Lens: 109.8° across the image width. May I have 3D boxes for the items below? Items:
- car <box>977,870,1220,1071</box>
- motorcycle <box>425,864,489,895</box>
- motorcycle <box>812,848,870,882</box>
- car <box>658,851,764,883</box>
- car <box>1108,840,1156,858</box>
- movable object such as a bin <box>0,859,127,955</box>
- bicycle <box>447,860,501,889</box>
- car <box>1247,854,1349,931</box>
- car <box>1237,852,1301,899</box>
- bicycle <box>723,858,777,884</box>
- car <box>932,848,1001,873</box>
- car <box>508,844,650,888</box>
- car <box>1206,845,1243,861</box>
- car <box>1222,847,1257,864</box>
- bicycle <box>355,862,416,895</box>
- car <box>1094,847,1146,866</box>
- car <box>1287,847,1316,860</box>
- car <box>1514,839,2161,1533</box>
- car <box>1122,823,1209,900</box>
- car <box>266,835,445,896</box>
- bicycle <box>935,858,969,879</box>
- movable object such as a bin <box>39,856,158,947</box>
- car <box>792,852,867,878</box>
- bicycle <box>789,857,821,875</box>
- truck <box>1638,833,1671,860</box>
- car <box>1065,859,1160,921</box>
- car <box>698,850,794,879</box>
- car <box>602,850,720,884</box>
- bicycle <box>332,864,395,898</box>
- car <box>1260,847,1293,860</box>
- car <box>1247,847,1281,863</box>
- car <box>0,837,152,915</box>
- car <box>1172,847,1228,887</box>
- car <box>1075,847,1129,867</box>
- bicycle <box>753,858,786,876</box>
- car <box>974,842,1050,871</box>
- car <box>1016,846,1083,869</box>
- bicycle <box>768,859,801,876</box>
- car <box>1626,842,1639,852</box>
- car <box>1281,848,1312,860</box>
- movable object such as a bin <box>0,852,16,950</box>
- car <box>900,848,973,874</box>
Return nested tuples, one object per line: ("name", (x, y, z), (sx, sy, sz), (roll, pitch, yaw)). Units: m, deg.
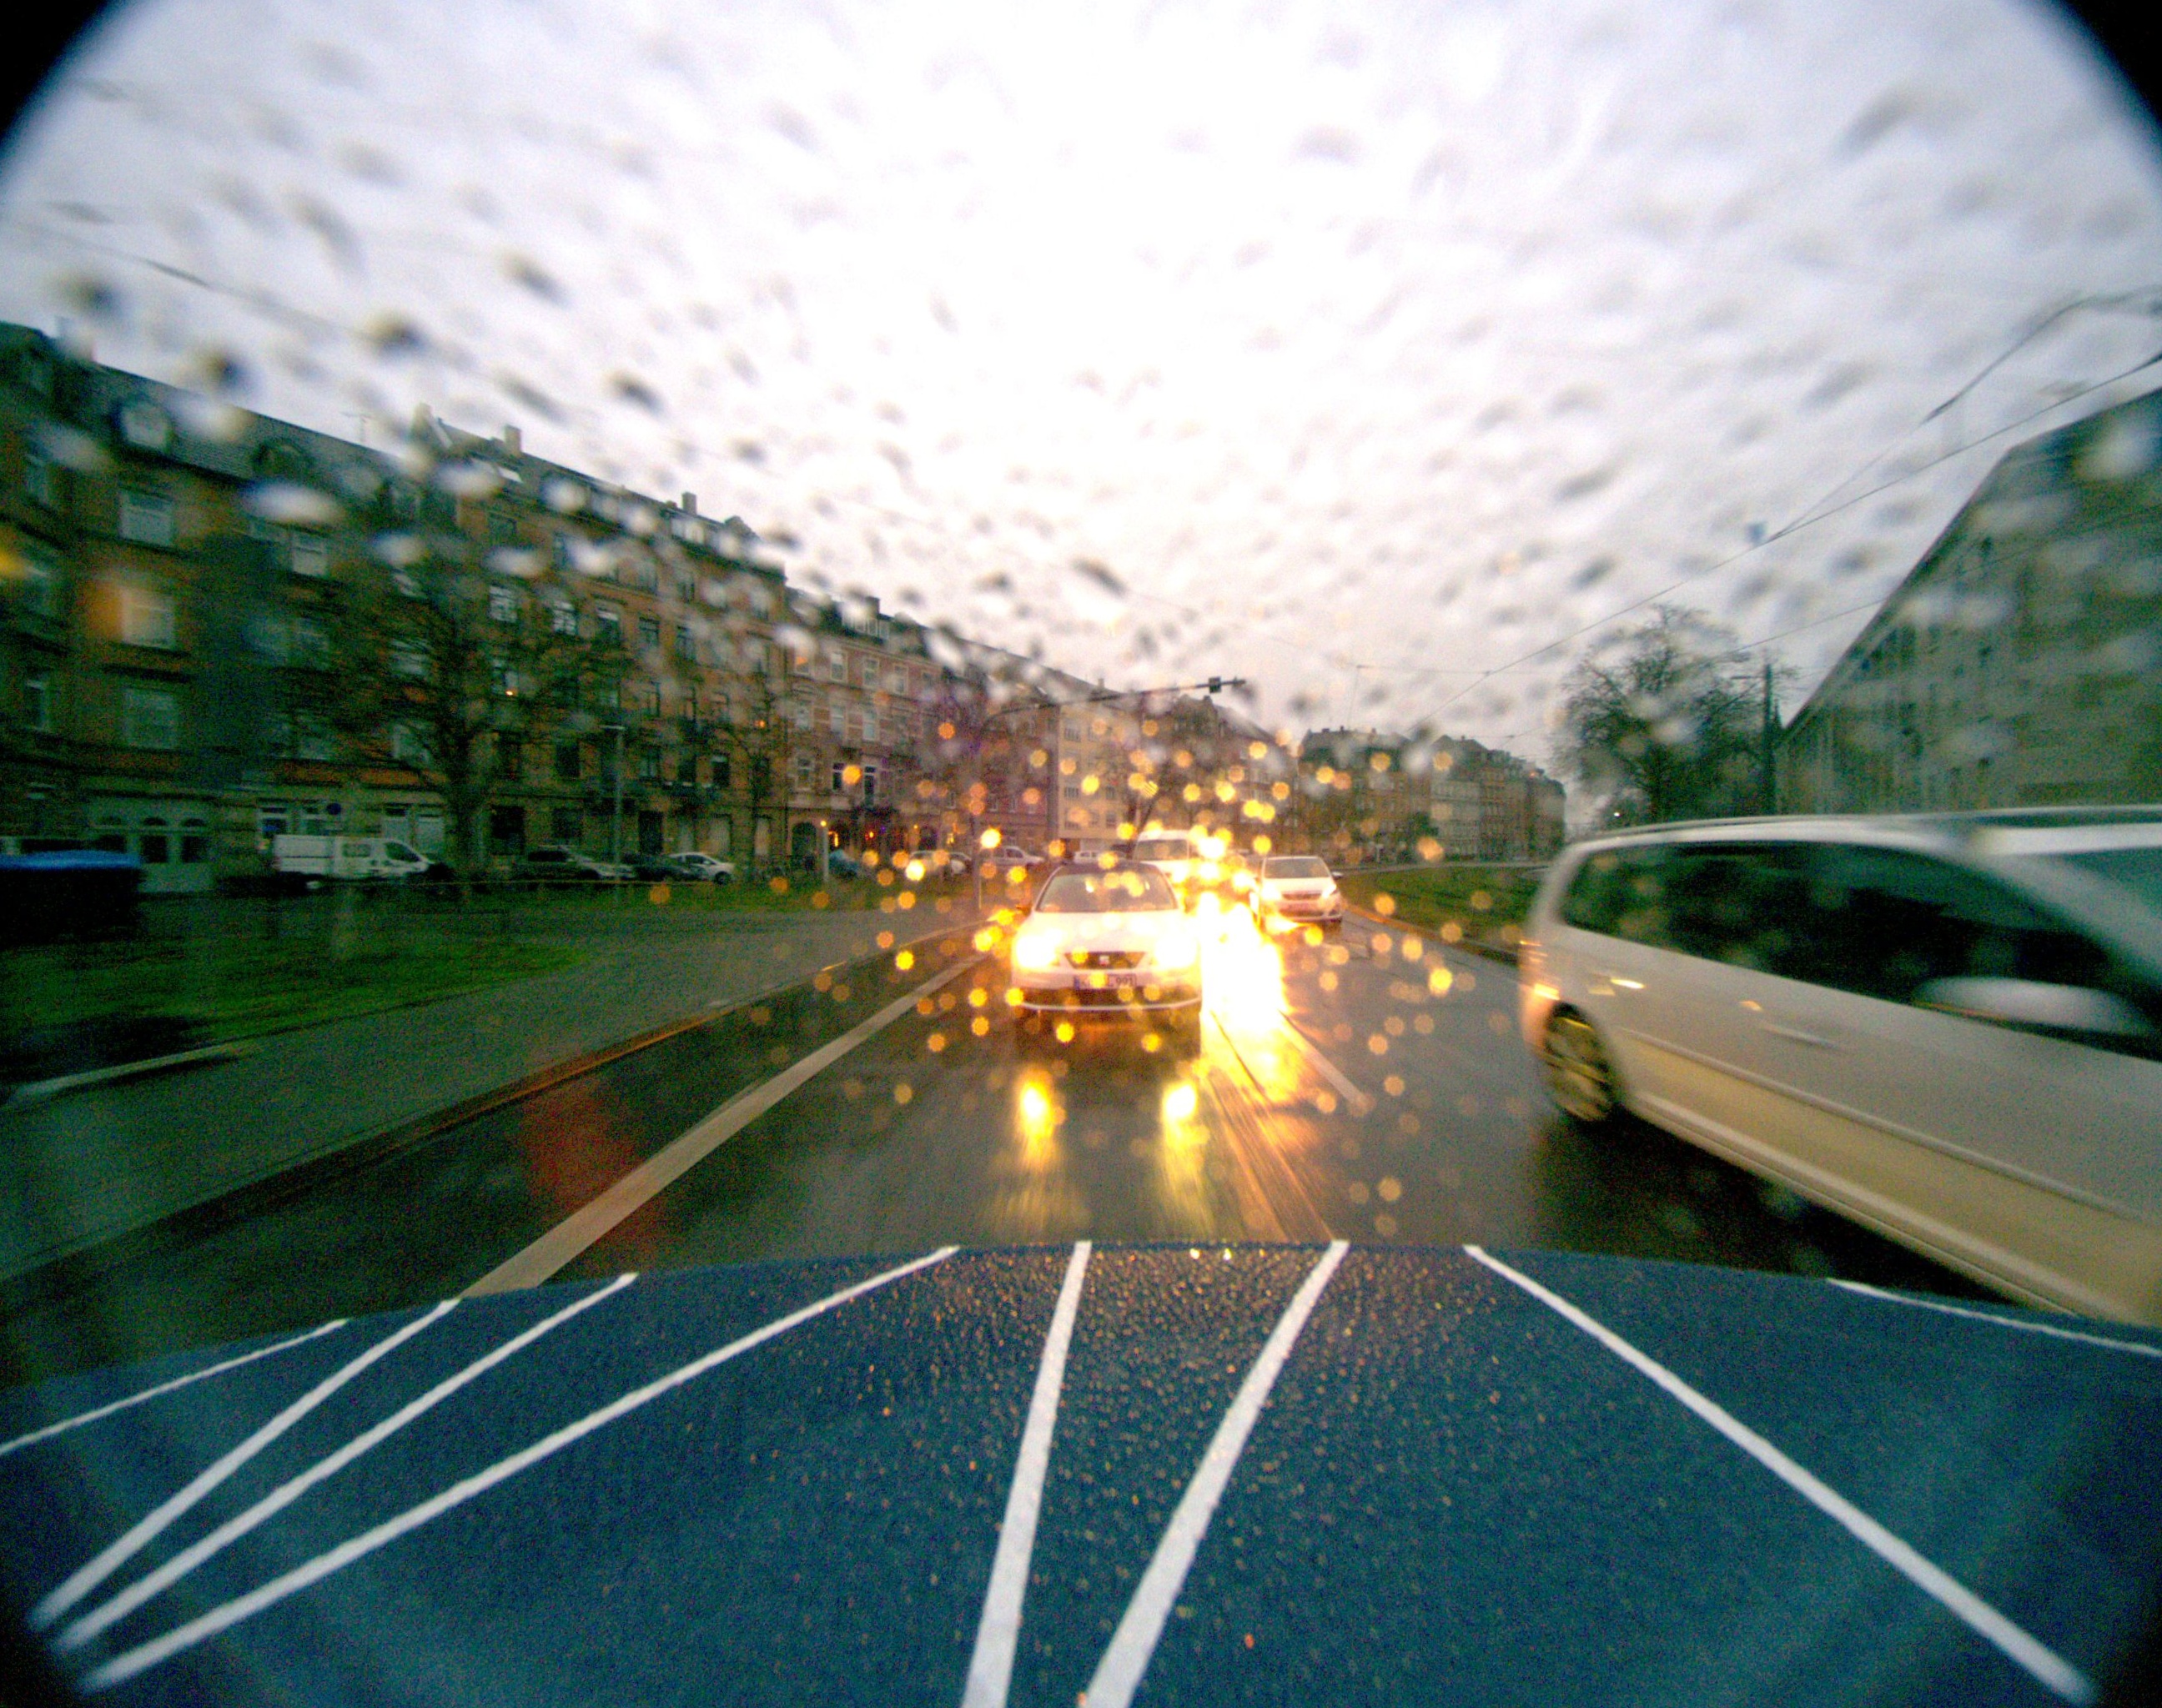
("car", (0.298, 0.933, 7.835), (1.787, 1.370, 4.224), (-2, 0, 5))
("motorcycle", (-20.074, 0.817, 24.444), (1.793, 0.926, 0.513), (2, 2, 8))
("motorcycle", (-10.479, 0.465, 33.193), (2.352, 1.338, 0.886), (3, 3, 22))
("car", (-15.549, 0.531, 32.002), (3.683, 1.298, 1.669), (0, 1, 7))
("car", (3.959, -0.395, 58.278), (3.610, 1.362, 1.618), (0, 1, 6))
("movable object such as a bin", (-16.345, 0.800, 12.162), (1.050, 1.424, 1.228), (0, 1, 43))
("bicycle", (-20.995, 0.697, 26.283), (1.792, 0.926, 0.446), (2, 2, 13))
("car", (4.492, 0.743, 16.125), (1.688, 1.422, 3.348), (-1, 1, 9))
("car", (6.515, 0.684, 26.028), (1.874, 1.466, 4.176), (-1, 0, 17))
("bicycle", (-13.146, 0.666, 30.204), (1.911, 1.013, 0.535), (1, 2, -33))
("car", (-6.690, 0.381, 44.556), (3.683, 1.428, 1.522), (0, 1, 8))
("car", (-18.275, 0.433, 27.748), (4.151, 1.560, 1.743), (0, 1, 7))
("car", (13.064, -0.094, 68.987), (3.180, 1.420, 1.430), (0, 1, 16))
("car", (14.896, 0.154, 71.444), (3.180, 1.615, 1.430), (0, 1, 16))
("bicycle", (-21.364, 0.747, 23.332), (1.792, 0.926, 0.446), (2, 2, 13))
("car", (2.860, 0.198, 55.839), (3.608, 1.362, 1.619), (0, 1, 12))
("car", (24.768, -0.086, 85.327), (3.180, 1.474, 1.383), (0, 1, 17))
("car", (3.346, 0.753, 2.414), (1.675, 1.590, 4.223), (-1, 0, 2))
("car", (3.168, 0.219, 27.205), (2.239, 2.448, 5.675), (-1, 1, 15))
("car", (-27.837, 0.395, 29.320), (1.994, 2.176, 4.671), (0, 1, 36))
("bicycle", (-6.179, 0.669, 36.388), (1.790, 0.926, 0.447), (2, 2, 36))
("movable object such as a bin", (-16.943, 0.780, 13.151), (1.050, 1.477, 1.142), (0, 1, 43))
("car", (-12.881, 0.566, 38.965), (3.296, 1.298, 1.522), (0, 1, 8))
("bicycle", (-13.604, 0.592, 37.404), (1.790, 0.813, 0.395), (2, 2, 28))
("truck", (44.969, -0.577, 59.584), (1.833, 2.032, 4.008), (0, 1, 40))
("car", (0.937, 0.884, 19.955), (1.721, 1.380, 3.825), (-1, 1, 14))
("car", (-15.153, 0.469, 34.443), (3.683, 1.298, 1.522), (0, 1, 7))
("car", (-16.435, 0.489, 29.810), (3.683, 1.298, 1.743), (0, 1, 7))
("bicycle", (-21.491, 0.809, 22.760), (1.792, 0.926, 0.446), (2, 2, 13))
("car", (20.129, -0.047, 78.212), (3.180, 1.405, 1.383), (0, 1, 17))
("car", (18.308, 0.081, 75.973), (3.180, 1.615, 1.447), (0, 1, 16))
("car", (-28.130, 0.529, 20.590), (1.945, 1.931, 4.588), (-1, 1, -26))
("car", (5.499, 0.536, 34.637), (1.874, 1.679, 4.176), (-1, 1, 18))
("car", (1.509, 0.210, 53.638), (3.608, 1.362, 1.619), (0, 1, 12))
("bicycle", (-14.706, 0.613, 35.883), (1.790, 0.790, 0.447), (2, 2, 31))
("car", (-4.230, 0.148, 46.775), (4.339, 1.758, 1.782), (0, 1, 7))
("car", (-2.003, 0.251, 48.909), (3.957, 1.436, 1.703), (0, 1, 13))
("bicycle", (-14.181, 0.642, 36.340), (1.790, 0.773, 0.447), (2, 2, 31))
("car", (92.019, -1.111, 126.670), (1.685, 1.630, 3.654), (0, 1, 37))
("car", (23.024, 0.033, 81.069), (3.180, 1.276, 1.383), (0, 1, 17))
("movable object such as a bin", (-18.071, 0.755, 12.095), (1.050, 1.566, 1.142), (0, 1, 43))
("car", (-7.986, 0.360, 42.132), (3.683, 1.391, 1.522), (0, 1, 8))
